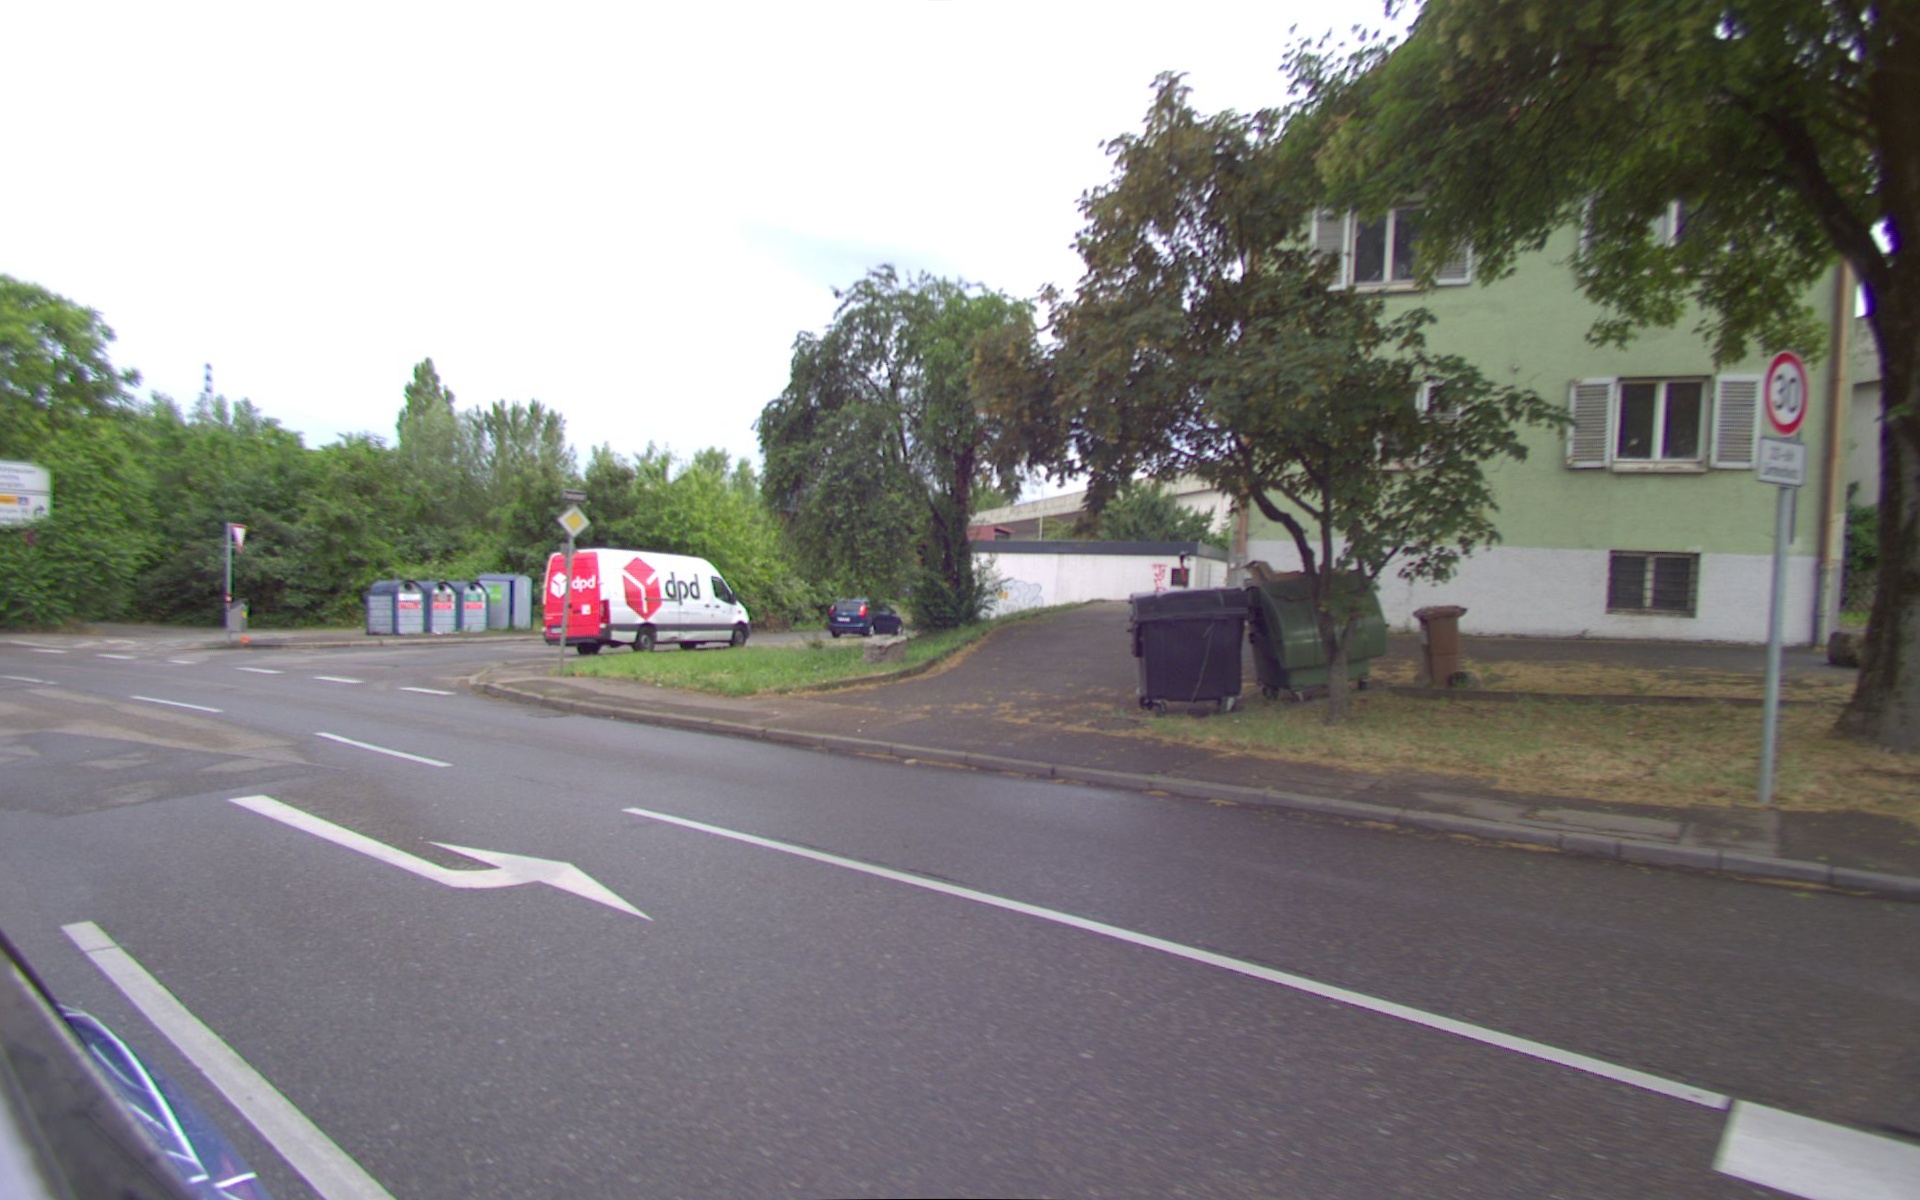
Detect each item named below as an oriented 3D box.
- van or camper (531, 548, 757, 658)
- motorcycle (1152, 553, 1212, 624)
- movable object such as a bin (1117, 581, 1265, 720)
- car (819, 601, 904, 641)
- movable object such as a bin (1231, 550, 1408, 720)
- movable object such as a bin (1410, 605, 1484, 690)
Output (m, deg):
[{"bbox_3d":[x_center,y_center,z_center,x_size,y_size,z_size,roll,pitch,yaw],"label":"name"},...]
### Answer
[{"bbox_3d":[-8.132,0.070,27.031,2.207,2.541,6.652,0,0,20],"label":"van or camper"},{"bbox_3d":[4.095,-0.234,18.619,0.431,1.205,1.463,3,6,40],"label":"motorcycle"},{"bbox_3d":[2.635,0.550,11.796,1.359,1.452,1.471,-3,0,2],"label":"movable object such as a bin"},{"bbox_3d":[-3.986,0.821,41.639,1.985,1.541,4.042,0,0,20],"label":"car"},{"bbox_3d":[4.111,0.375,11.763,1.434,1.774,1.577,-3,0,2],"label":"movable object such as a bin"},{"bbox_3d":[5.585,0.537,11.631,0.555,0.917,0.541,-3,0,2],"label":"movable object such as a bin"}]
